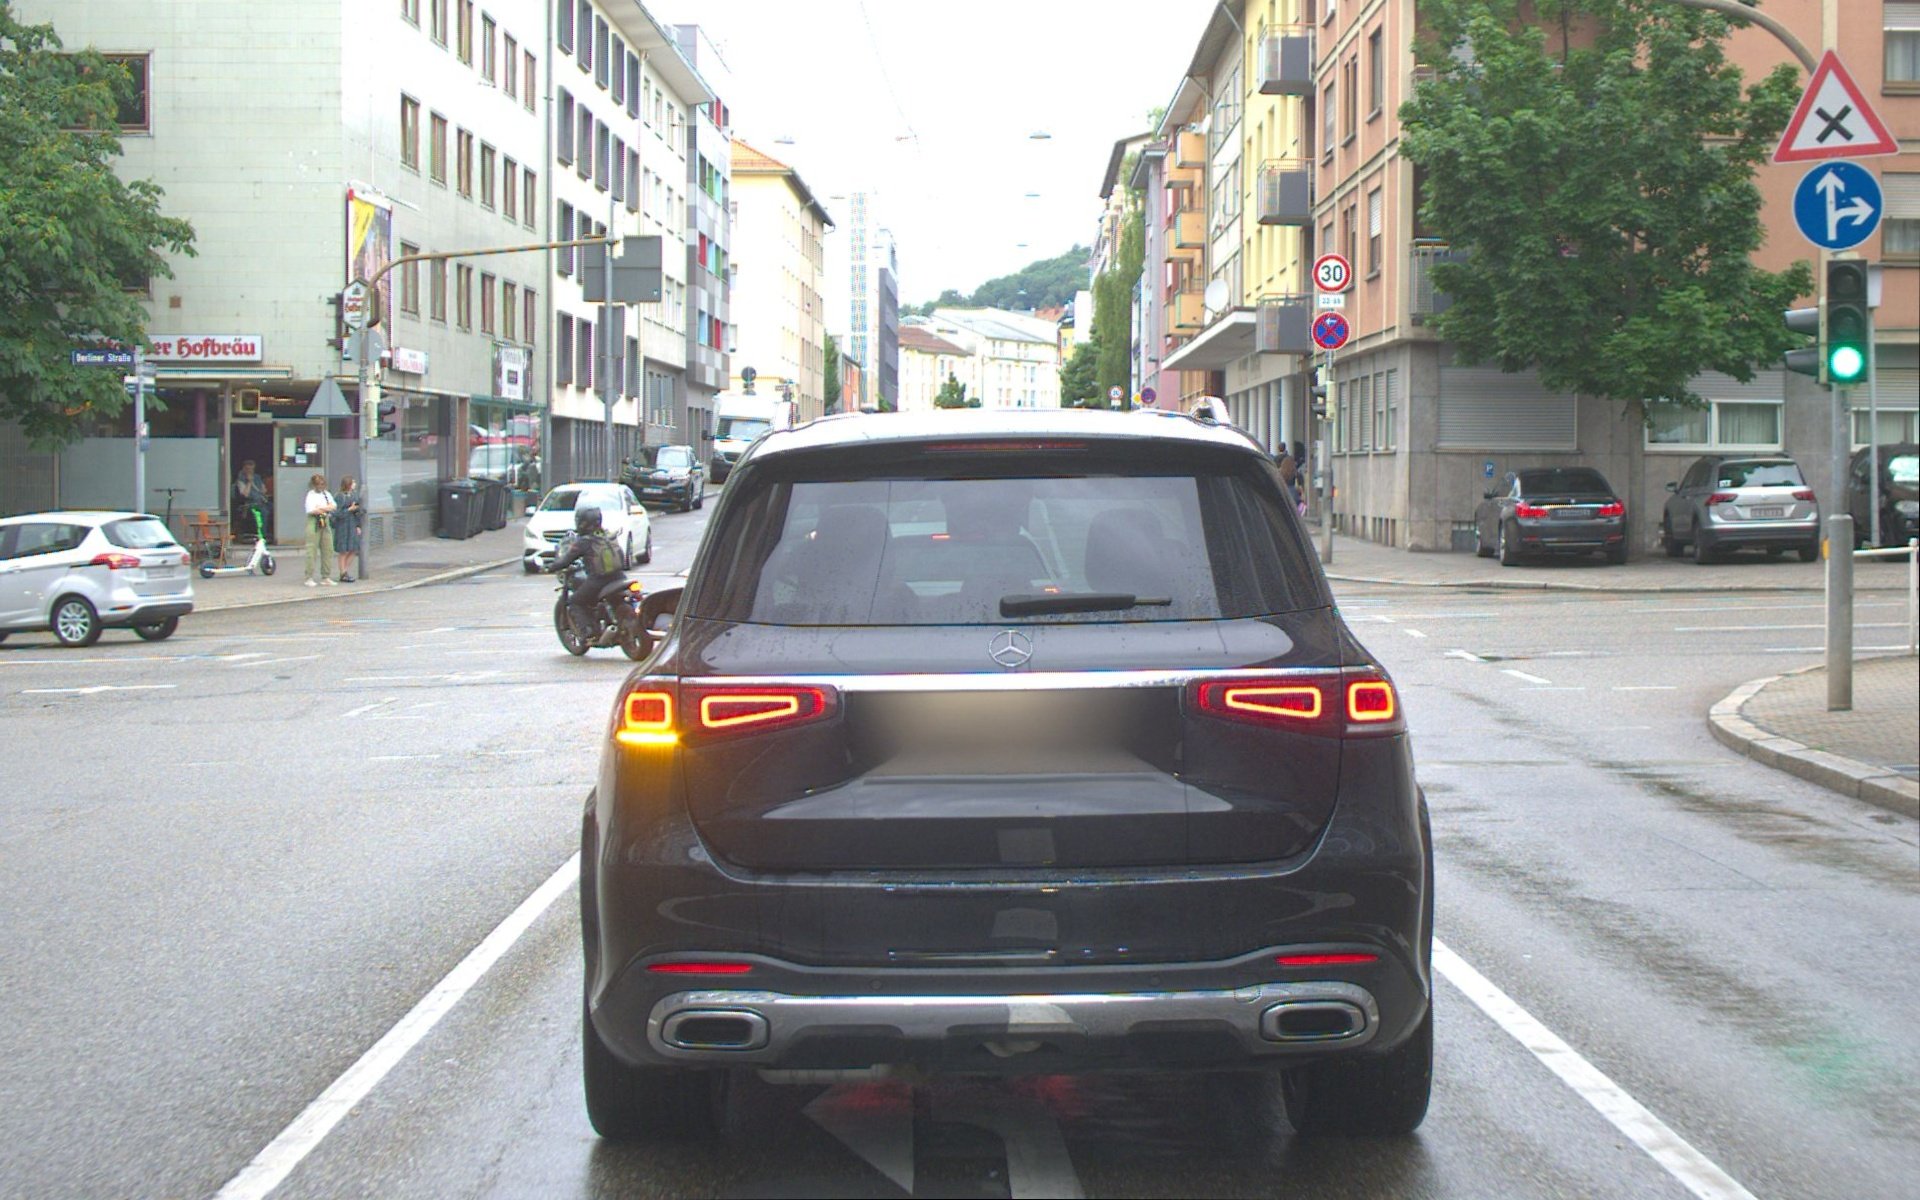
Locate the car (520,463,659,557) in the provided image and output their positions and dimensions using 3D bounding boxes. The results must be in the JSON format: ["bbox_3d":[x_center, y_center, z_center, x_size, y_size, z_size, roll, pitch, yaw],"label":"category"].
[{"bbox_3d":[-6.307,-1.569,58.824,1.844,1.507,4.000,-1,2,1],"label":"car"}]

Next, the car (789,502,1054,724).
[{"bbox_3d":[-0.386,0.031,27.083,1.830,1.456,4.380,-2,3,-3],"label":"car"}]

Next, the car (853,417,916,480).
[{"bbox_3d":[-2.754,-5.562,126.490,2.065,2.233,4.620,-1,2,2],"label":"car"}]

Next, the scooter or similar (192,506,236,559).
[{"bbox_3d":[-12.159,-1.104,56.004,0.458,0.840,1.323,1,1,-22],"label":"scooter or similar"}]

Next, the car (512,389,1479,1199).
[{"bbox_3d":[0.002,0.386,9.590,2.020,1.733,4.748,0,1,-2],"label":"car"}]

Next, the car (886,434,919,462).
[{"bbox_3d":[-3.486,-9.211,208.598,1.844,1.668,4.000,-1,2,2],"label":"car"}]

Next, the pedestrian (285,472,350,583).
[{"bbox_3d":[-9.837,-1.120,52.644,0.708,1.641,0.759,-1,6,-35],"label":"pedestrian"}]

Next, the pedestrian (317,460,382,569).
[{"bbox_3d":[-9.500,-1.341,53.504,0.708,1.641,0.759,-1,6,-35],"label":"pedestrian"}]

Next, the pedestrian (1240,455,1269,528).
[{"bbox_3d":[6.292,-2.321,73.470,0.520,1.533,0.569,1,5,1],"label":"pedestrian"}]

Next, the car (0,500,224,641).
[{"bbox_3d":[-11.206,-0.354,41.152,4.254,1.594,2.025,0,2,22],"label":"car"}]

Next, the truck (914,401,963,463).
[{"bbox_3d":[-1.414,-11.140,228.686,2.807,3.819,8.144,1,1,2],"label":"truck"}]

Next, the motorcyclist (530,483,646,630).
[{"bbox_3d":[-3.744,-0.445,34.581,0.904,1.448,0.747,-2,2,-31],"label":"motorcyclist"}]

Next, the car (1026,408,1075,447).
[{"bbox_3d":[3.970,-7.538,150.465,2.016,1.557,4.000,1,1,3],"label":"car"}]

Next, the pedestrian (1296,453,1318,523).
[{"bbox_3d":[7.062,-2.283,69.992,0.363,1.394,0.370,1,5,1],"label":"pedestrian"}]

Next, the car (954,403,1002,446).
[{"bbox_3d":[0.757,-7.243,141.928,1.844,1.668,4.000,-1,2,2],"label":"car"}]

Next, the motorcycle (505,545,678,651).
[{"bbox_3d":[-3.732,-0.038,34.634,0.862,1.002,2.252,-2,2,-31],"label":"motorcycle"}]

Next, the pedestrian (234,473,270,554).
[{"bbox_3d":[-12.441,-1.519,60.440,0.518,1.395,0.578,1,1,-3],"label":"pedestrian"}]

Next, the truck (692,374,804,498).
[{"bbox_3d":[-6.996,-5.385,114.560,2.807,3.819,8.144,1,1,2],"label":"truck"}]

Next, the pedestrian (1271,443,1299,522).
[{"bbox_3d":[6.603,-2.384,69.908,0.479,1.560,0.558,1,5,1],"label":"pedestrian"}]

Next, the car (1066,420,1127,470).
[{"bbox_3d":[4.735,-5.325,118.652,2.016,1.557,5.154,1,1,3],"label":"car"}]

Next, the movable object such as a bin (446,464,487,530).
[{"bbox_3d":[-9.951,-2.079,69.327,0.697,1.311,0.782,1,1,0],"label":"movable object such as a bin"}]

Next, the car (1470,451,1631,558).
[{"bbox_3d":[9.118,-1.510,53.439,1.844,1.549,4.796,-1,2,2],"label":"car"}]

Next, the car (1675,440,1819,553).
[{"bbox_3d":[12.065,-1.606,52.896,1.987,1.654,3.999,0,2,11],"label":"car"}]

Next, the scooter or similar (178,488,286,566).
[{"bbox_3d":[-11.467,-1.147,54.170,1.556,1.186,0.501,1,1,-28],"label":"scooter or similar"}]

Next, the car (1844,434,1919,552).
[{"bbox_3d":[14.627,-1.656,52.482,1.987,1.713,3.998,-1,2,12],"label":"car"}]

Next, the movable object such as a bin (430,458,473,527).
[{"bbox_3d":[-9.965,-2.102,67.356,0.697,1.311,0.782,1,1,0],"label":"movable object such as a bin"}]

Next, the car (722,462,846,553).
[{"bbox_3d":[-3.010,-1.623,59.505,1.844,1.484,4.000,-1,2,1],"label":"car"}]

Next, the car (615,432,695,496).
[{"bbox_3d":[-7.951,-3.537,89.852,1.723,1.597,4.000,-1,2,0],"label":"car"}]

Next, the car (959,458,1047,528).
[{"bbox_3d":[0.953,-2.344,75.287,1.844,1.484,4.000,-1,2,1],"label":"car"}]

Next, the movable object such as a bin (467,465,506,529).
[{"bbox_3d":[-9.919,-2.149,72.065,0.697,1.311,0.782,1,1,0],"label":"movable object such as a bin"}]
